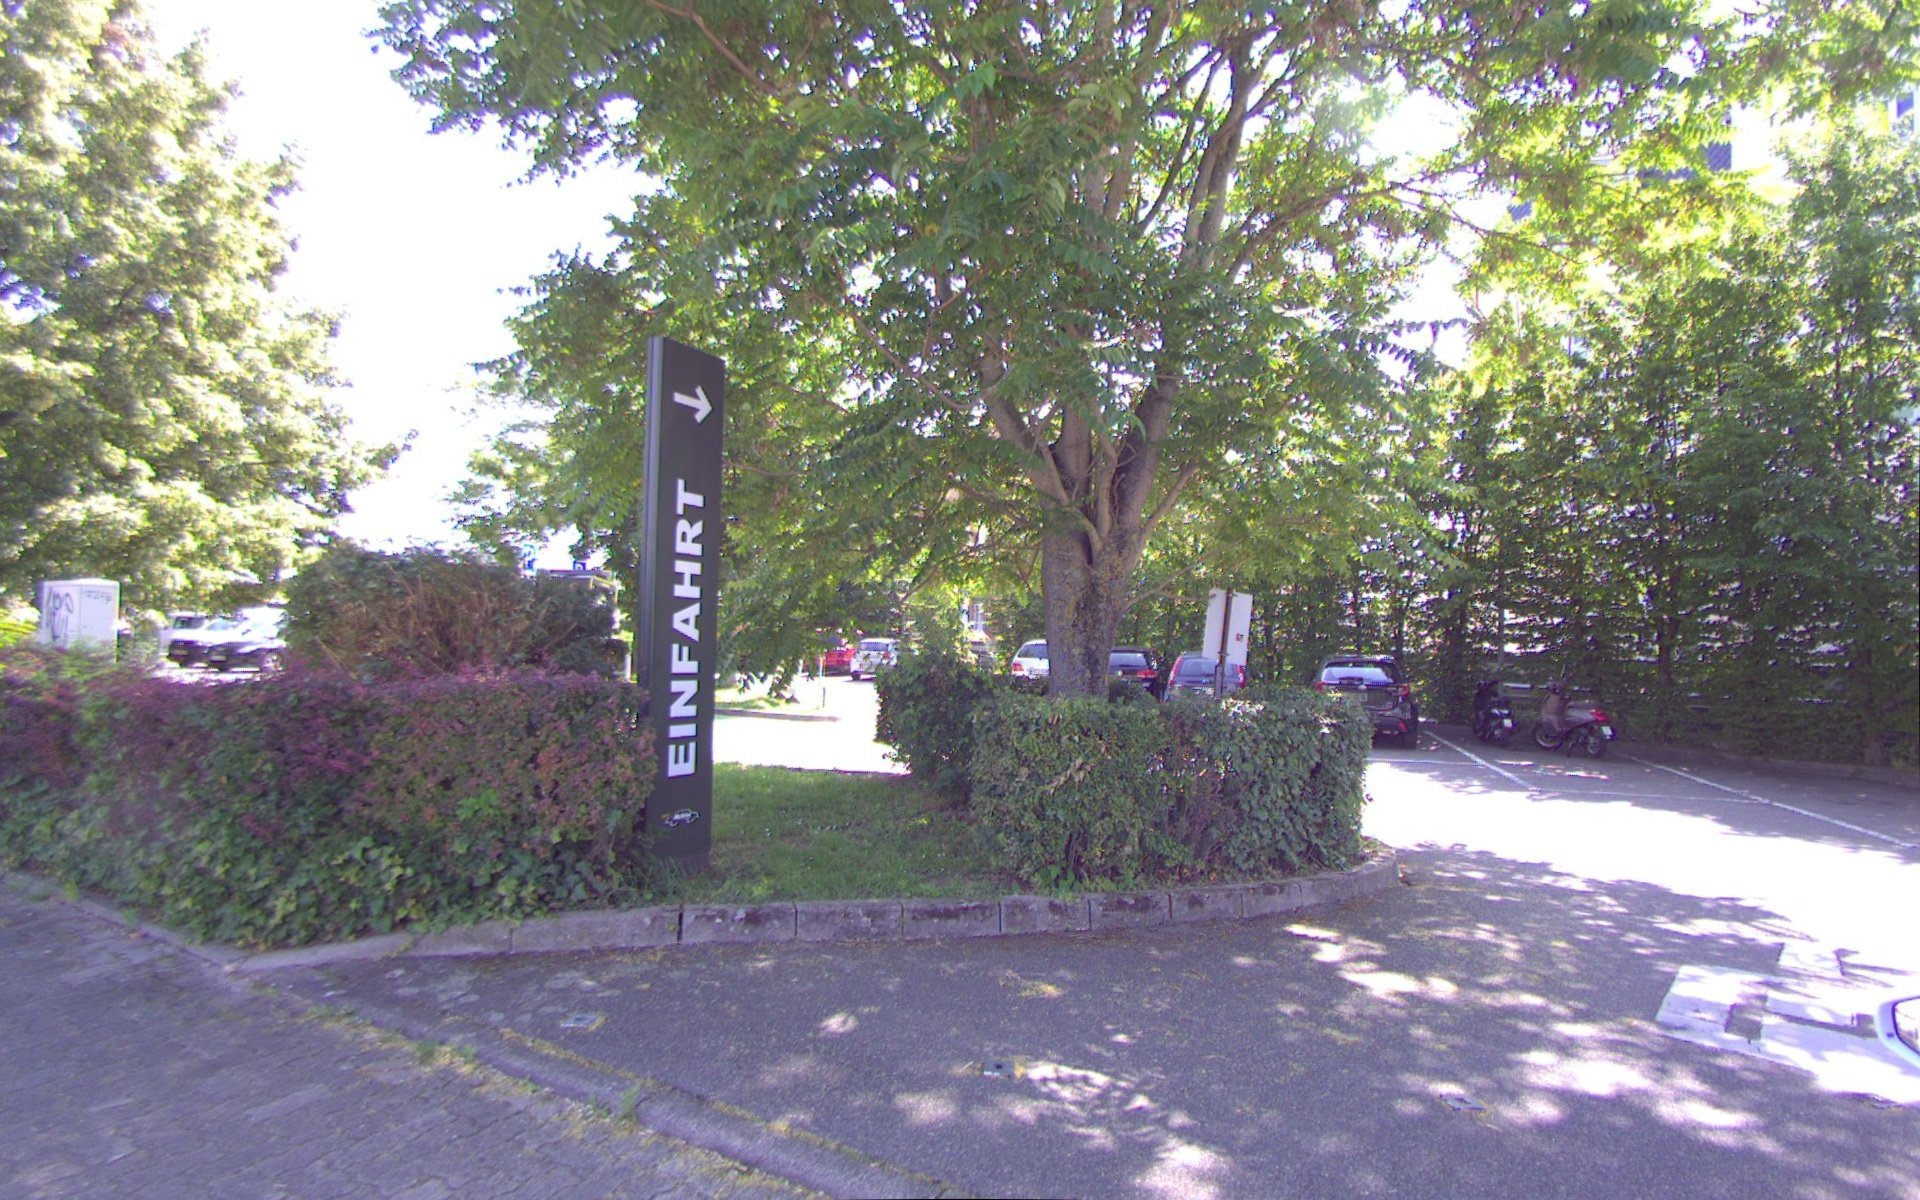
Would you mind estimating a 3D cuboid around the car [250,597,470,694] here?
[{"bbox_3d":[-12.111,0.895,20.231,4.289,1.707,1.860,1,-4,30],"label":"car"}]

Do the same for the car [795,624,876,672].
[{"bbox_3d":[-4.743,1.824,38.872,1.738,1.757,4.002,-1,-2,15],"label":"car"}]

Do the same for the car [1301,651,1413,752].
[{"bbox_3d":[6.991,1.706,17.969,1.628,1.489,3.905,0,-1,18],"label":"car"}]

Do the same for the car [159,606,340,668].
[{"bbox_3d":[-21.928,1.180,31.232,1.825,1.708,4.315,2,-3,16],"label":"car"}]

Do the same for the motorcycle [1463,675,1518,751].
[{"bbox_3d":[8.911,1.878,16.914,0.465,1.156,1.607,1,-2,15],"label":"motorcycle"}]

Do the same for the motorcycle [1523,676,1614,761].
[{"bbox_3d":[9.407,1.804,15.588,0.558,1.184,1.607,1,-3,5],"label":"motorcycle"}]

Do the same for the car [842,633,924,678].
[{"bbox_3d":[-2.693,1.936,36.030,1.738,1.495,4.003,0,-2,14],"label":"car"}]

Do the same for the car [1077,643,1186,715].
[{"bbox_3d":[4.222,1.831,24.227,1.740,1.489,3.998,0,-2,23],"label":"car"}]

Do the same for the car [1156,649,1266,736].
[{"bbox_3d":[5.134,1.763,20.188,1.671,1.472,4.000,0,-2,21],"label":"car"}]

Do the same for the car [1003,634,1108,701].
[{"bbox_3d":[2.630,1.736,26.765,1.740,1.592,4.000,0,-2,22],"label":"car"}]

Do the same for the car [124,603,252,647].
[{"bbox_3d":[-30.295,0.989,39.449,4.059,1.572,1.922,2,-2,16],"label":"car"}]

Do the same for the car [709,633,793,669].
[{"bbox_3d":[-8.557,2.097,41.494,1.738,1.407,4.003,0,-3,16],"label":"car"}]
